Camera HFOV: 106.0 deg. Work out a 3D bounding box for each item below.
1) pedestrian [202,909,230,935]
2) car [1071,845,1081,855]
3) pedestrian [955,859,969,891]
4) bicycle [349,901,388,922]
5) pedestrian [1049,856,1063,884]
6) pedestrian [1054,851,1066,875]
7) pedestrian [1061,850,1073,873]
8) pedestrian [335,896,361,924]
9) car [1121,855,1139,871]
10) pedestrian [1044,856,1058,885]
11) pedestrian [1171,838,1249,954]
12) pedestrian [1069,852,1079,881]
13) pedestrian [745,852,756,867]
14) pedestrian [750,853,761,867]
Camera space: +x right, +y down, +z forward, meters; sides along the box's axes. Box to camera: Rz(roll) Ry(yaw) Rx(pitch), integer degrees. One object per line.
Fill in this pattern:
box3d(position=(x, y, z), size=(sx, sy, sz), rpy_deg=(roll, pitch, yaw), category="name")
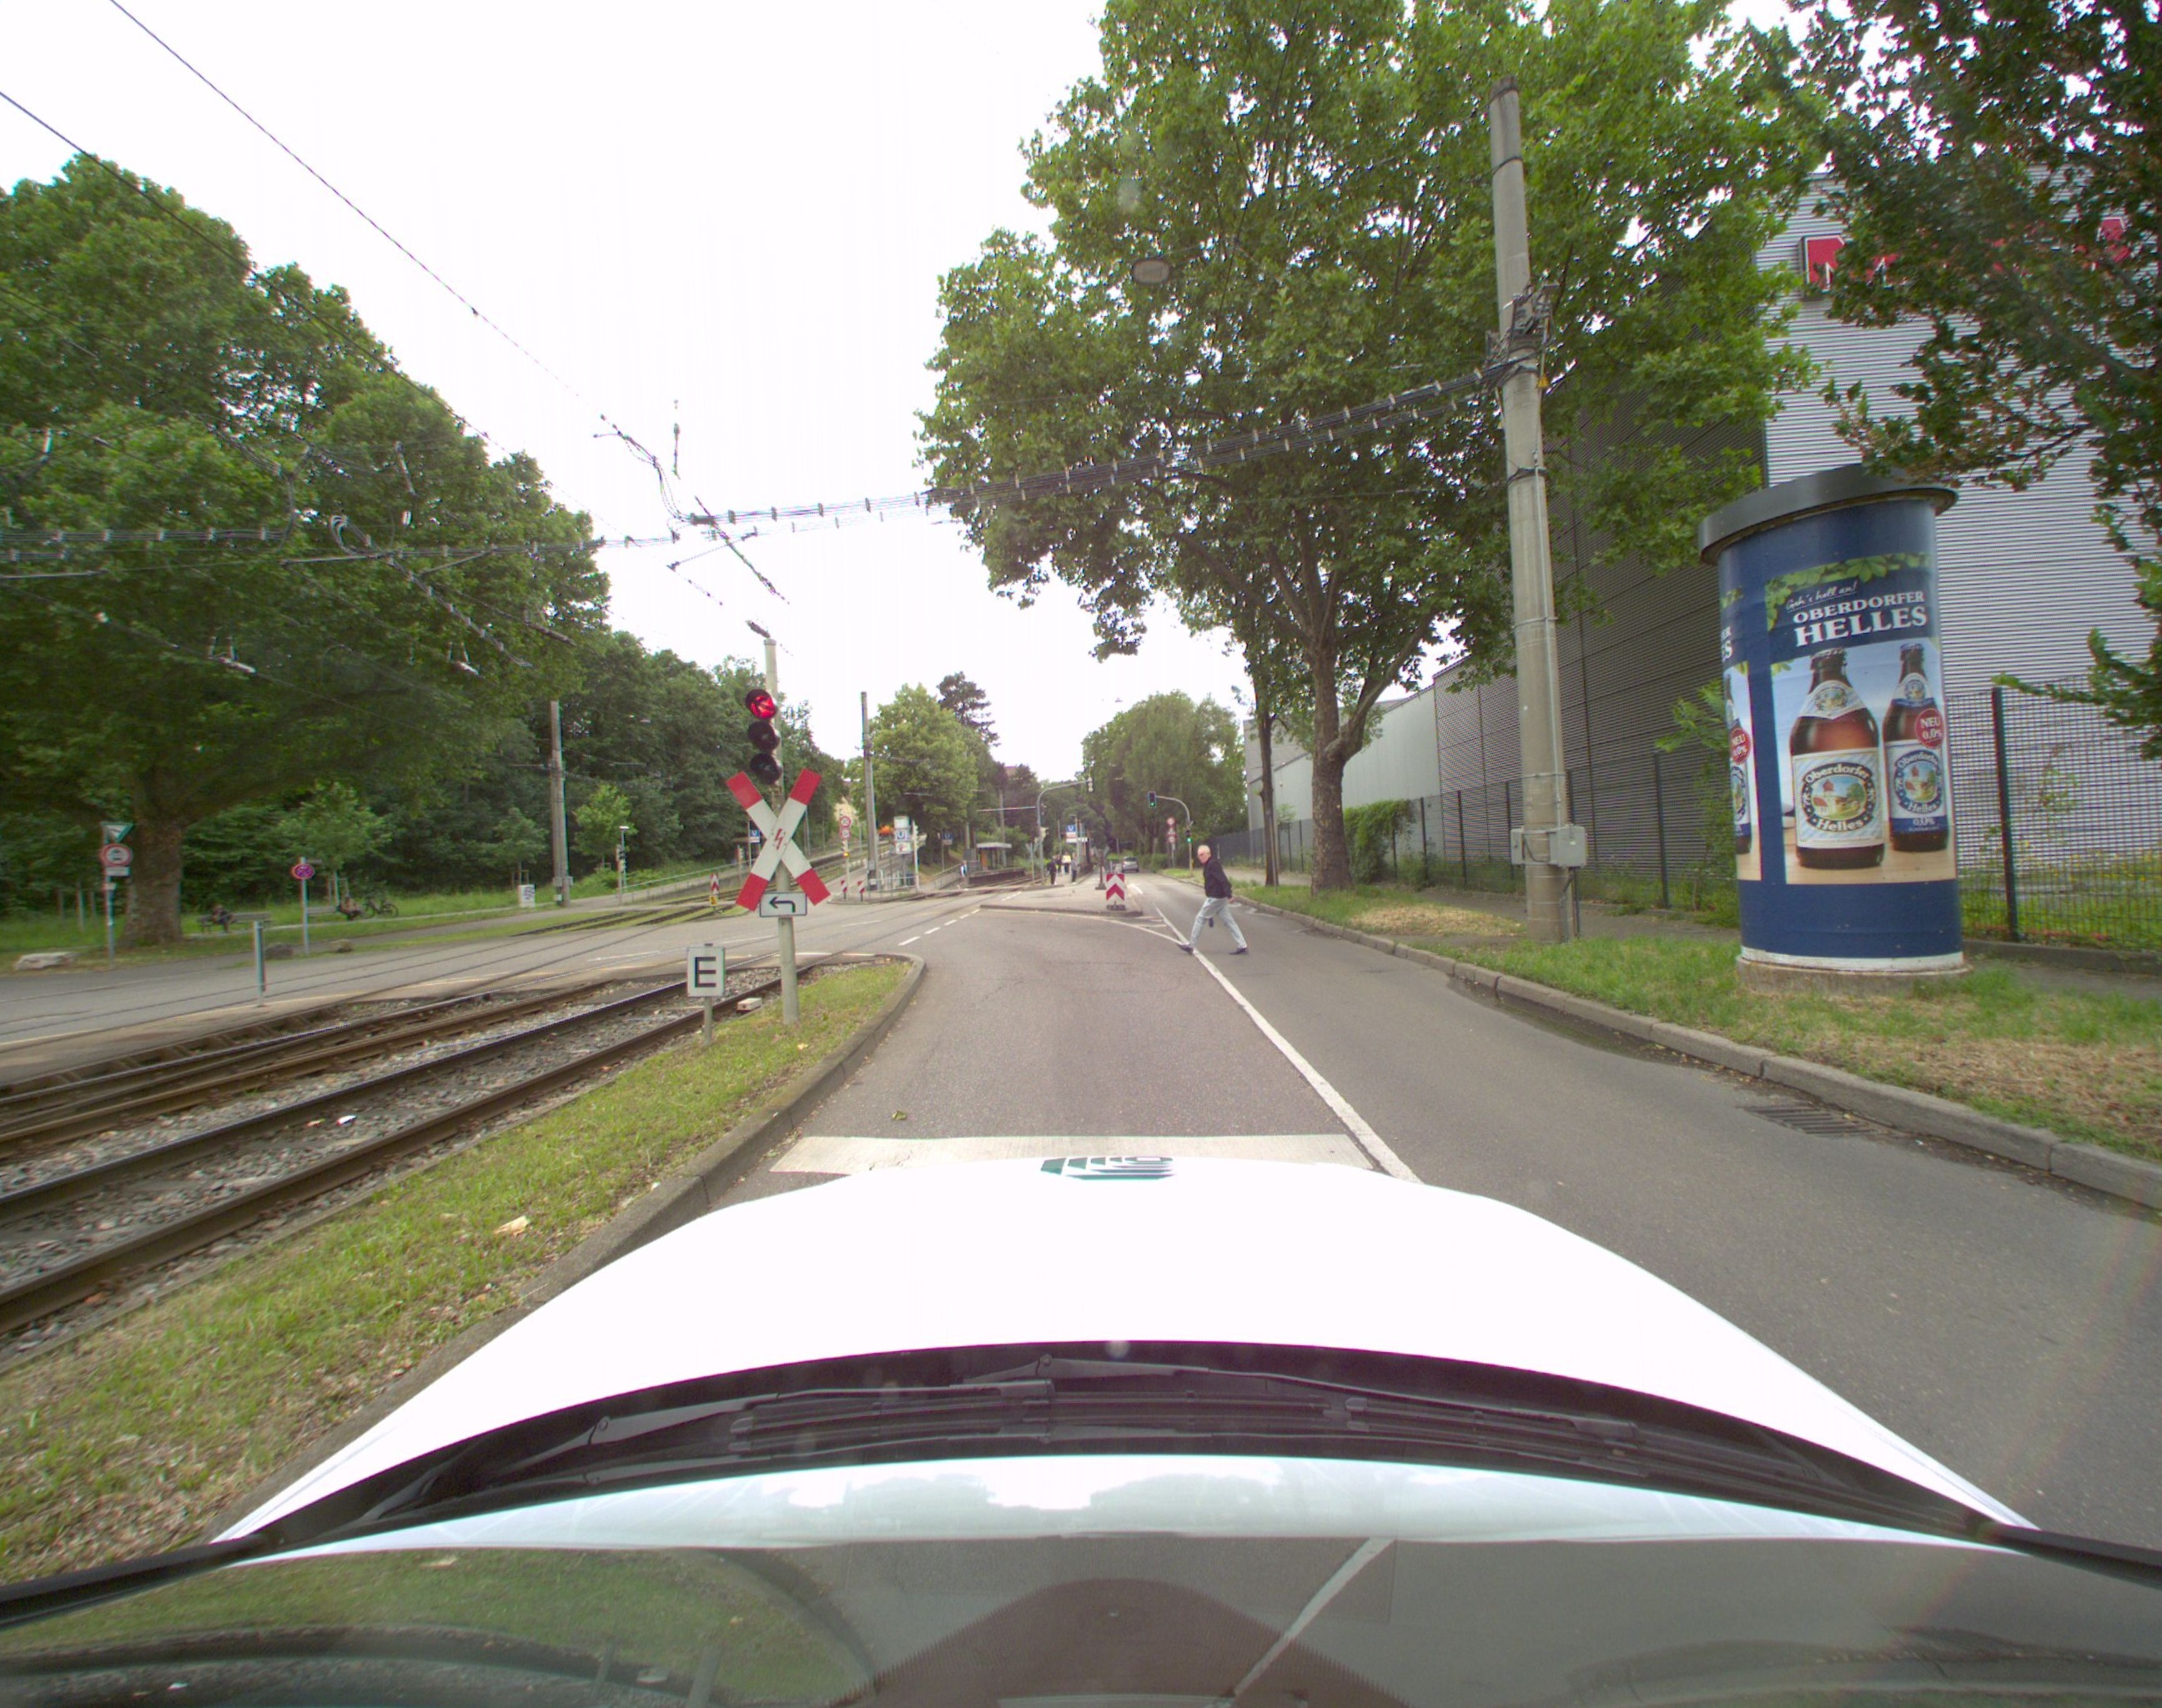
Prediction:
box3d(position=(-35.324, 2.783, 33.256), size=(0.526, 0.989, 0.623), rpy_deg=(-1, -1, 17), category="pedestrian")
box3d(position=(-1.062, -0.865, 168.153), size=(1.986, 2.014, 4.001), rpy_deg=(0, -1, 2), category="car")
box3d(position=(-6.965, 1.224, 47.844), size=(0.802, 1.821, 0.669), rpy_deg=(0, -1, -8), category="pedestrian")
box3d(position=(-33.416, 2.687, 38.203), size=(1.726, 0.885, 0.625), rpy_deg=(-1, -1, 21), category="bicycle")
box3d(position=(-1.552, 0.971, 49.936), size=(0.675, 1.665, 0.740), rpy_deg=(-1, -1, 12), category="pedestrian")
box3d(position=(-1.468, 0.641, 56.908), size=(0.735, 1.665, 0.679), rpy_deg=(0, -1, -9), category="pedestrian")
box3d(position=(-0.985, 0.526, 57.795), size=(0.735, 1.665, 0.679), rpy_deg=(0, -1, -9), category="pedestrian")
box3d(position=(-33.516, 2.534, 37.242), size=(0.574, 1.235, 0.676), rpy_deg=(-1, -1, 15), category="pedestrian")
box3d(position=(4.941, 0.911, 82.594), size=(1.737, 1.599, 4.001), rpy_deg=(0, -1, 2), category="car")
box3d(position=(-1.740, 0.953, 47.155), size=(0.732, 1.665, 0.682), rpy_deg=(0, -1, 3), category="pedestrian")
box3d(position=(2.047, 0.648, 12.862), size=(1.109, 1.760, 0.817), rpy_deg=(-1, -1, 15), category="pedestrian")
box3d(position=(-0.449, 0.777, 50.954), size=(0.547, 1.758, 0.739), rpy_deg=(0, -1, 6), category="pedestrian")
box3d(position=(-30.723, 0.531, 75.707), size=(0.771, 1.326, 0.785), rpy_deg=(0, 2, -6), category="pedestrian")
box3d(position=(-30.710, 0.540, 76.931), size=(0.771, 1.326, 0.785), rpy_deg=(0, -1, -6), category="pedestrian")
